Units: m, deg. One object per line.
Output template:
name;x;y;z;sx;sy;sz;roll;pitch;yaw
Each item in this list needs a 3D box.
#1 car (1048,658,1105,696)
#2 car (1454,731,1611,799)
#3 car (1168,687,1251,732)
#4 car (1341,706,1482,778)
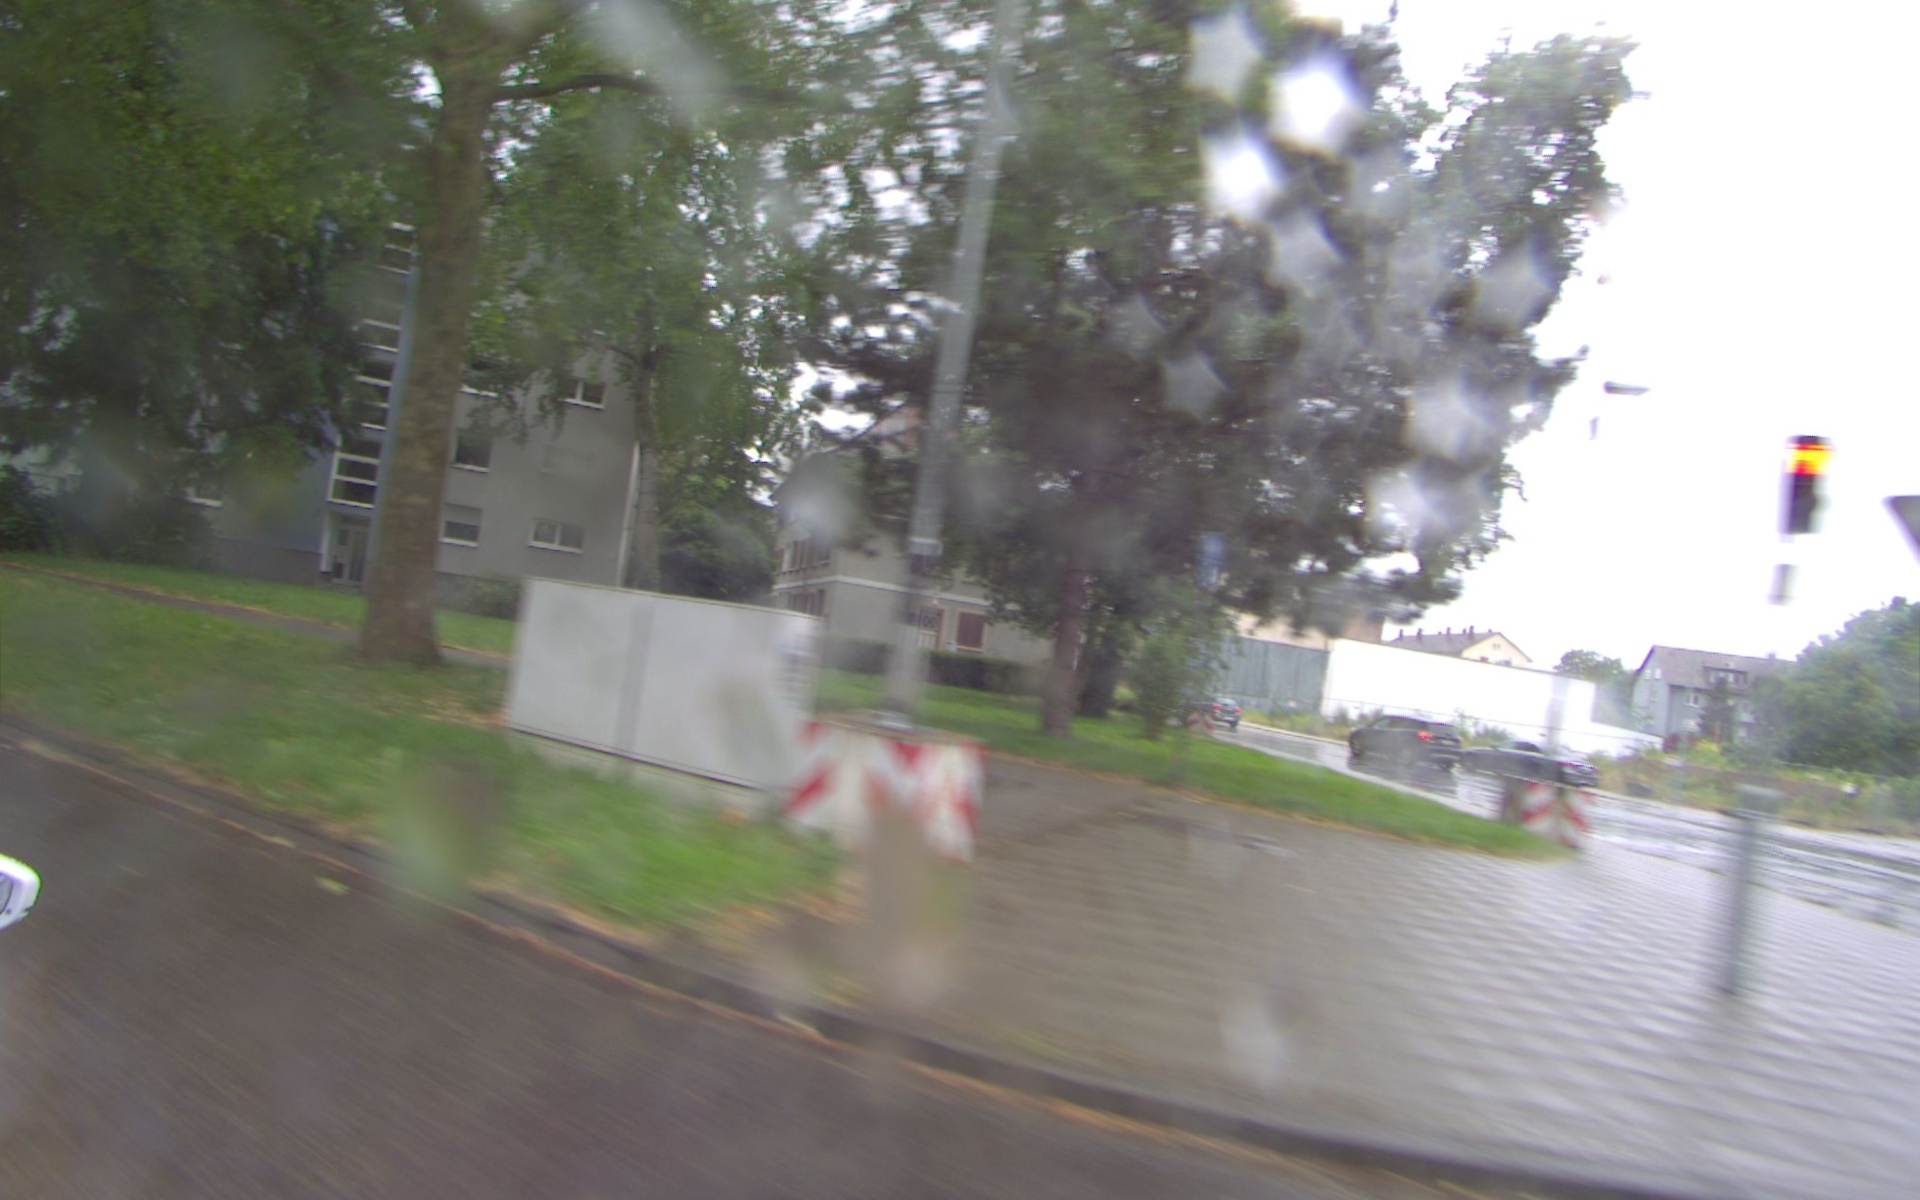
car;8.524;5.641;73.891;2.323;2.232;4.602;9;-3;-15
car;19.900;5.712;35.226;1.952;1.565;4.516;9;-3;-18
car;12.295;5.360;49.772;1.972;1.619;4.076;9;-3;-18
car;15.692;4.909;35.248;1.972;1.762;4.292;9;-3;-18
